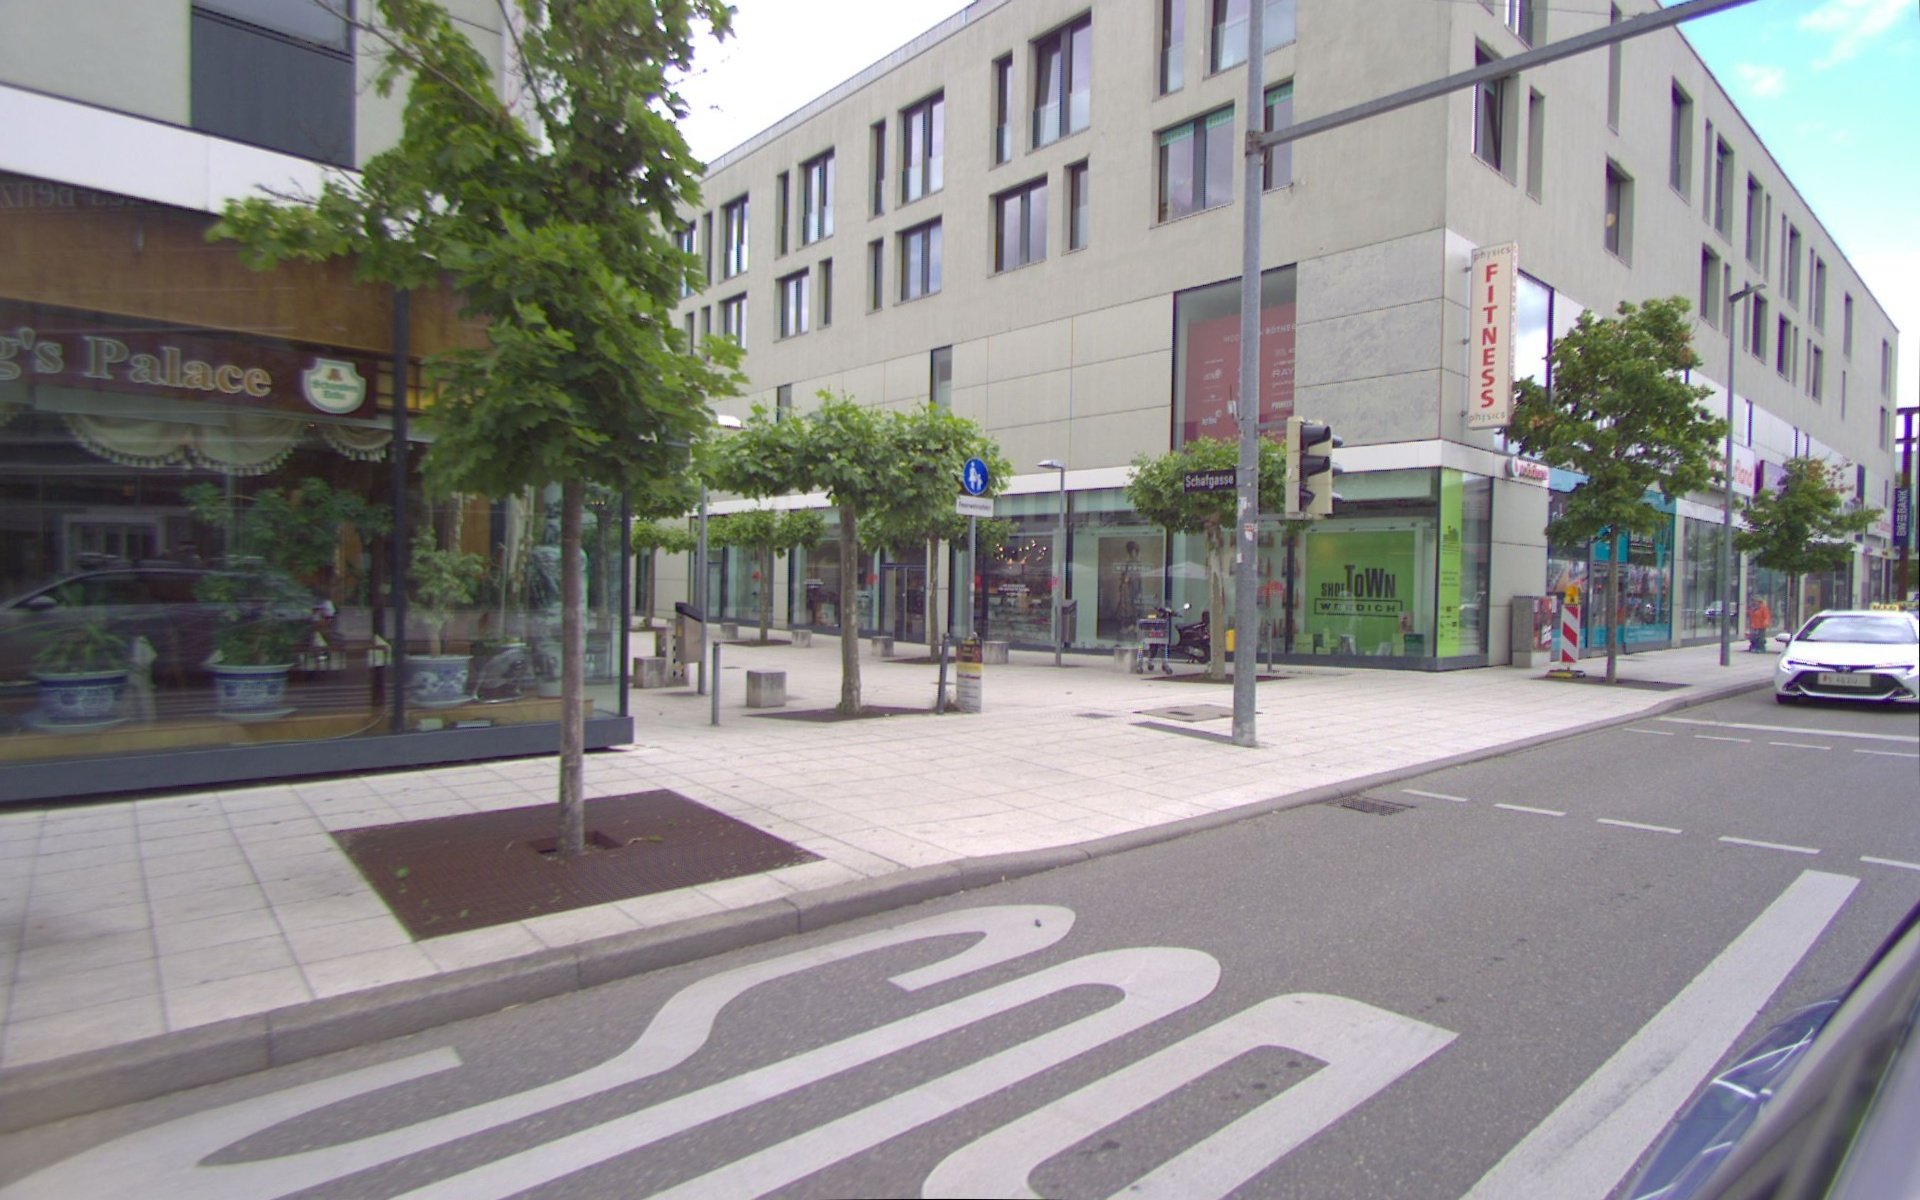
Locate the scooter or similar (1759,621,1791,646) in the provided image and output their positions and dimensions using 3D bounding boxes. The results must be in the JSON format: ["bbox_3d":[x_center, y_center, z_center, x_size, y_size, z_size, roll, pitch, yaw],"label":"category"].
[{"bbox_3d":[22.520,0.921,27.965,0.754,0.642,0.552,1,3,-41],"label":"scooter or similar"}]

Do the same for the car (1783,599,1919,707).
[{"bbox_3d":[14.352,0.728,15.727,4.437,1.443,1.785,0,1,-42],"label":"car"}]

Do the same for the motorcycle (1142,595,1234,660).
[{"bbox_3d":[4.708,0.552,21.021,0.584,1.273,1.841,-3,2,-43],"label":"motorcycle"}]

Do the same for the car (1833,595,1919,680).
[{"bbox_3d":[19.190,0.691,20.454,4.707,1.561,1.739,0,0,-42],"label":"car"}]

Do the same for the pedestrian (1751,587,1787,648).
[{"bbox_3d":[21.949,0.464,27.459,0.719,1.586,0.590,1,2,-41],"label":"pedestrian"}]
